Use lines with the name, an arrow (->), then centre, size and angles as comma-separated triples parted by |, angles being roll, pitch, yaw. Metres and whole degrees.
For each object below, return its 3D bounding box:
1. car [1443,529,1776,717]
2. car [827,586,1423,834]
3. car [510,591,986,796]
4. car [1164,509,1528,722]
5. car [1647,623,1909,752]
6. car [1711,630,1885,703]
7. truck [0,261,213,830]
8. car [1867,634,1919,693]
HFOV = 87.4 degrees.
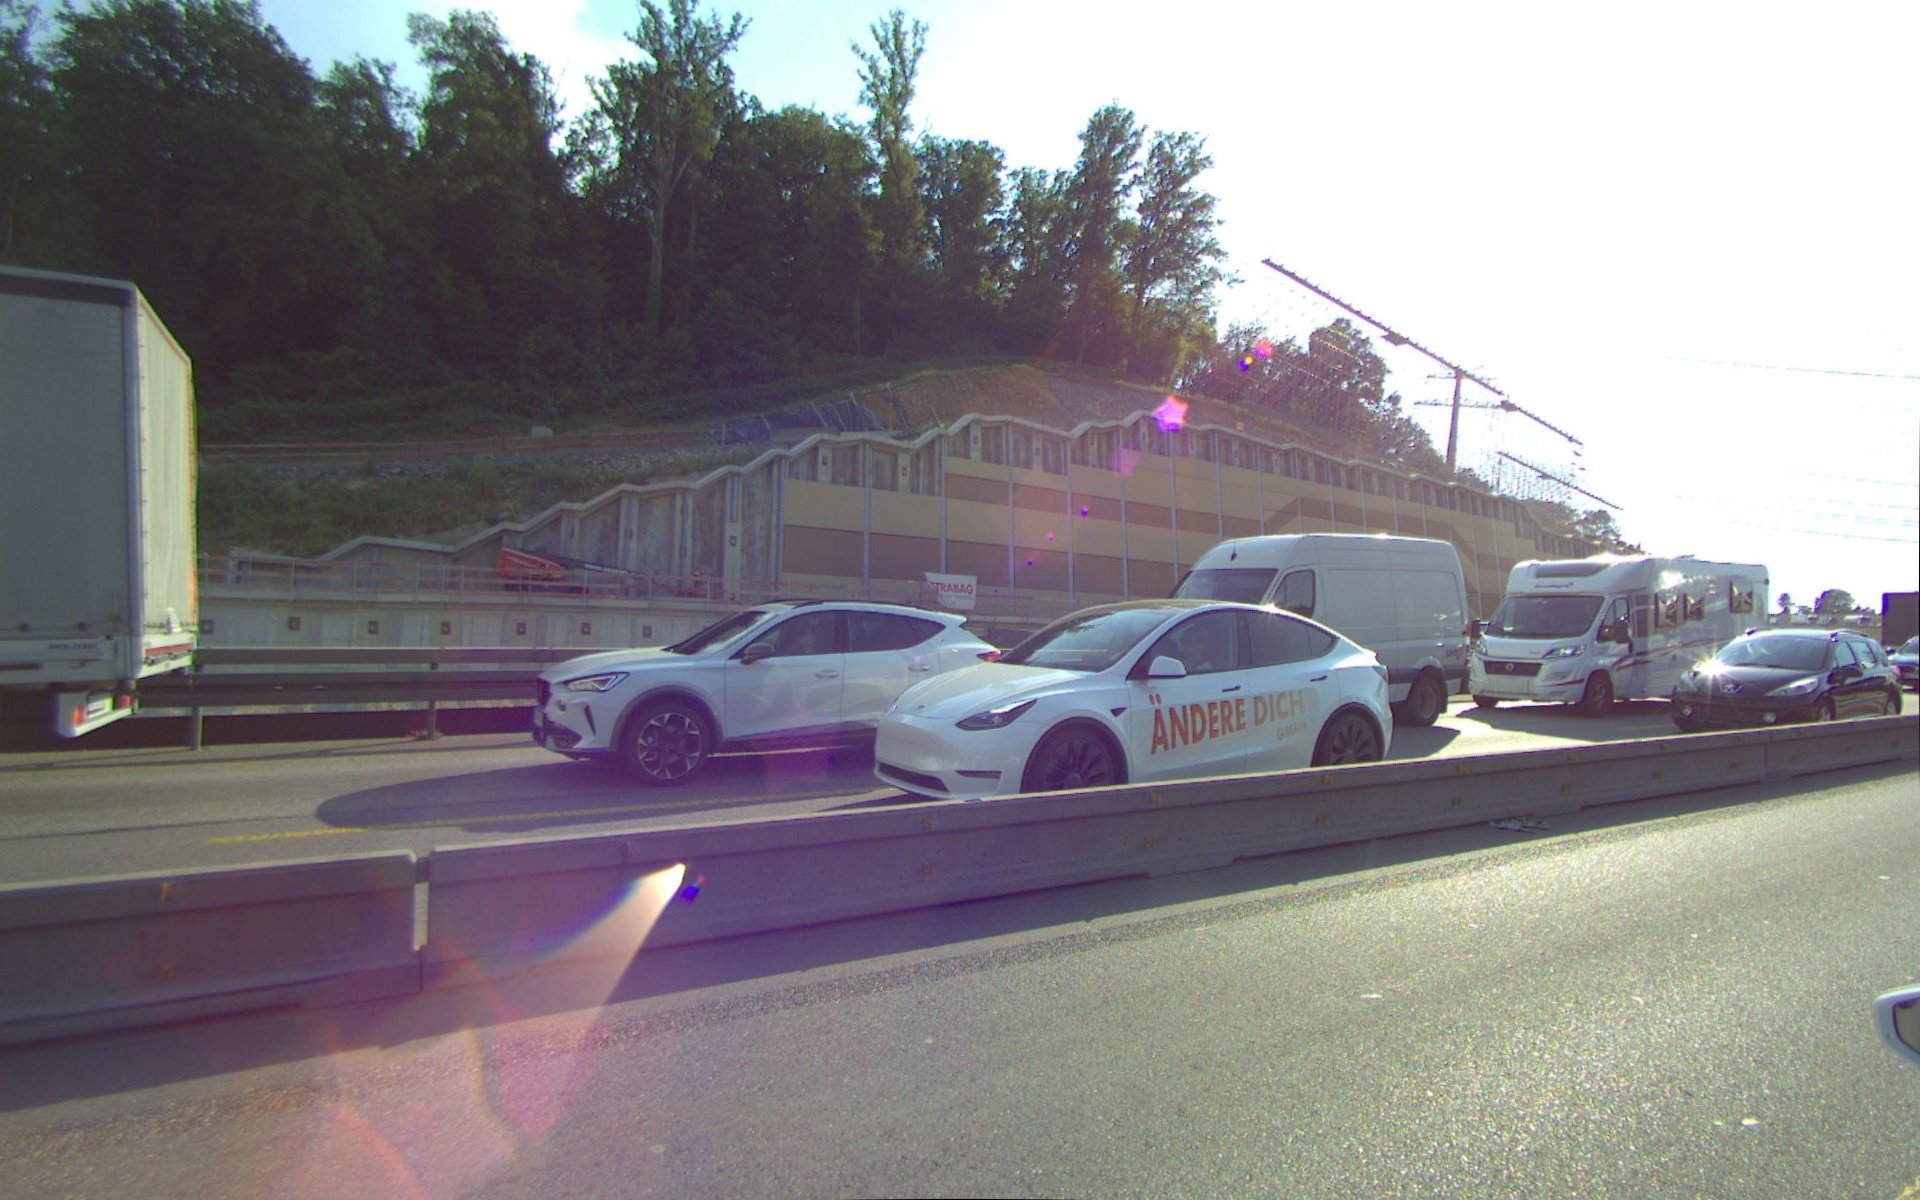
car -> 12.330, 0.509, 18.793 | 7.549, 2.956, 2.321 | 2, -2, -32
car -> 1.470, 0.743, 8.269 | 4.674, 1.506, 2.047 | 1, -3, -33
car -> -1.905, 0.756, 9.321 | 3.957, 1.543, 1.754 | 2, 0, -31
car -> 5.836, 0.307, 14.872 | 5.683, 2.655, 1.947 | 2, -2, -31
car -> 11.874, 1.149, 14.532 | 3.956, 1.542, 1.772 | 1, 1, -33
car -> 19.051, 1.474, 22.789 | 4.560, 1.441, 1.739 | 2, 0, -33
truck -> -9.115, -0.420, 5.683 | 7.530, 3.508, 2.435 | 2, -1, -31
car -> 26.488, 1.710, 27.219 | 4.663, 1.479, 1.733 | 2, -1, -33
